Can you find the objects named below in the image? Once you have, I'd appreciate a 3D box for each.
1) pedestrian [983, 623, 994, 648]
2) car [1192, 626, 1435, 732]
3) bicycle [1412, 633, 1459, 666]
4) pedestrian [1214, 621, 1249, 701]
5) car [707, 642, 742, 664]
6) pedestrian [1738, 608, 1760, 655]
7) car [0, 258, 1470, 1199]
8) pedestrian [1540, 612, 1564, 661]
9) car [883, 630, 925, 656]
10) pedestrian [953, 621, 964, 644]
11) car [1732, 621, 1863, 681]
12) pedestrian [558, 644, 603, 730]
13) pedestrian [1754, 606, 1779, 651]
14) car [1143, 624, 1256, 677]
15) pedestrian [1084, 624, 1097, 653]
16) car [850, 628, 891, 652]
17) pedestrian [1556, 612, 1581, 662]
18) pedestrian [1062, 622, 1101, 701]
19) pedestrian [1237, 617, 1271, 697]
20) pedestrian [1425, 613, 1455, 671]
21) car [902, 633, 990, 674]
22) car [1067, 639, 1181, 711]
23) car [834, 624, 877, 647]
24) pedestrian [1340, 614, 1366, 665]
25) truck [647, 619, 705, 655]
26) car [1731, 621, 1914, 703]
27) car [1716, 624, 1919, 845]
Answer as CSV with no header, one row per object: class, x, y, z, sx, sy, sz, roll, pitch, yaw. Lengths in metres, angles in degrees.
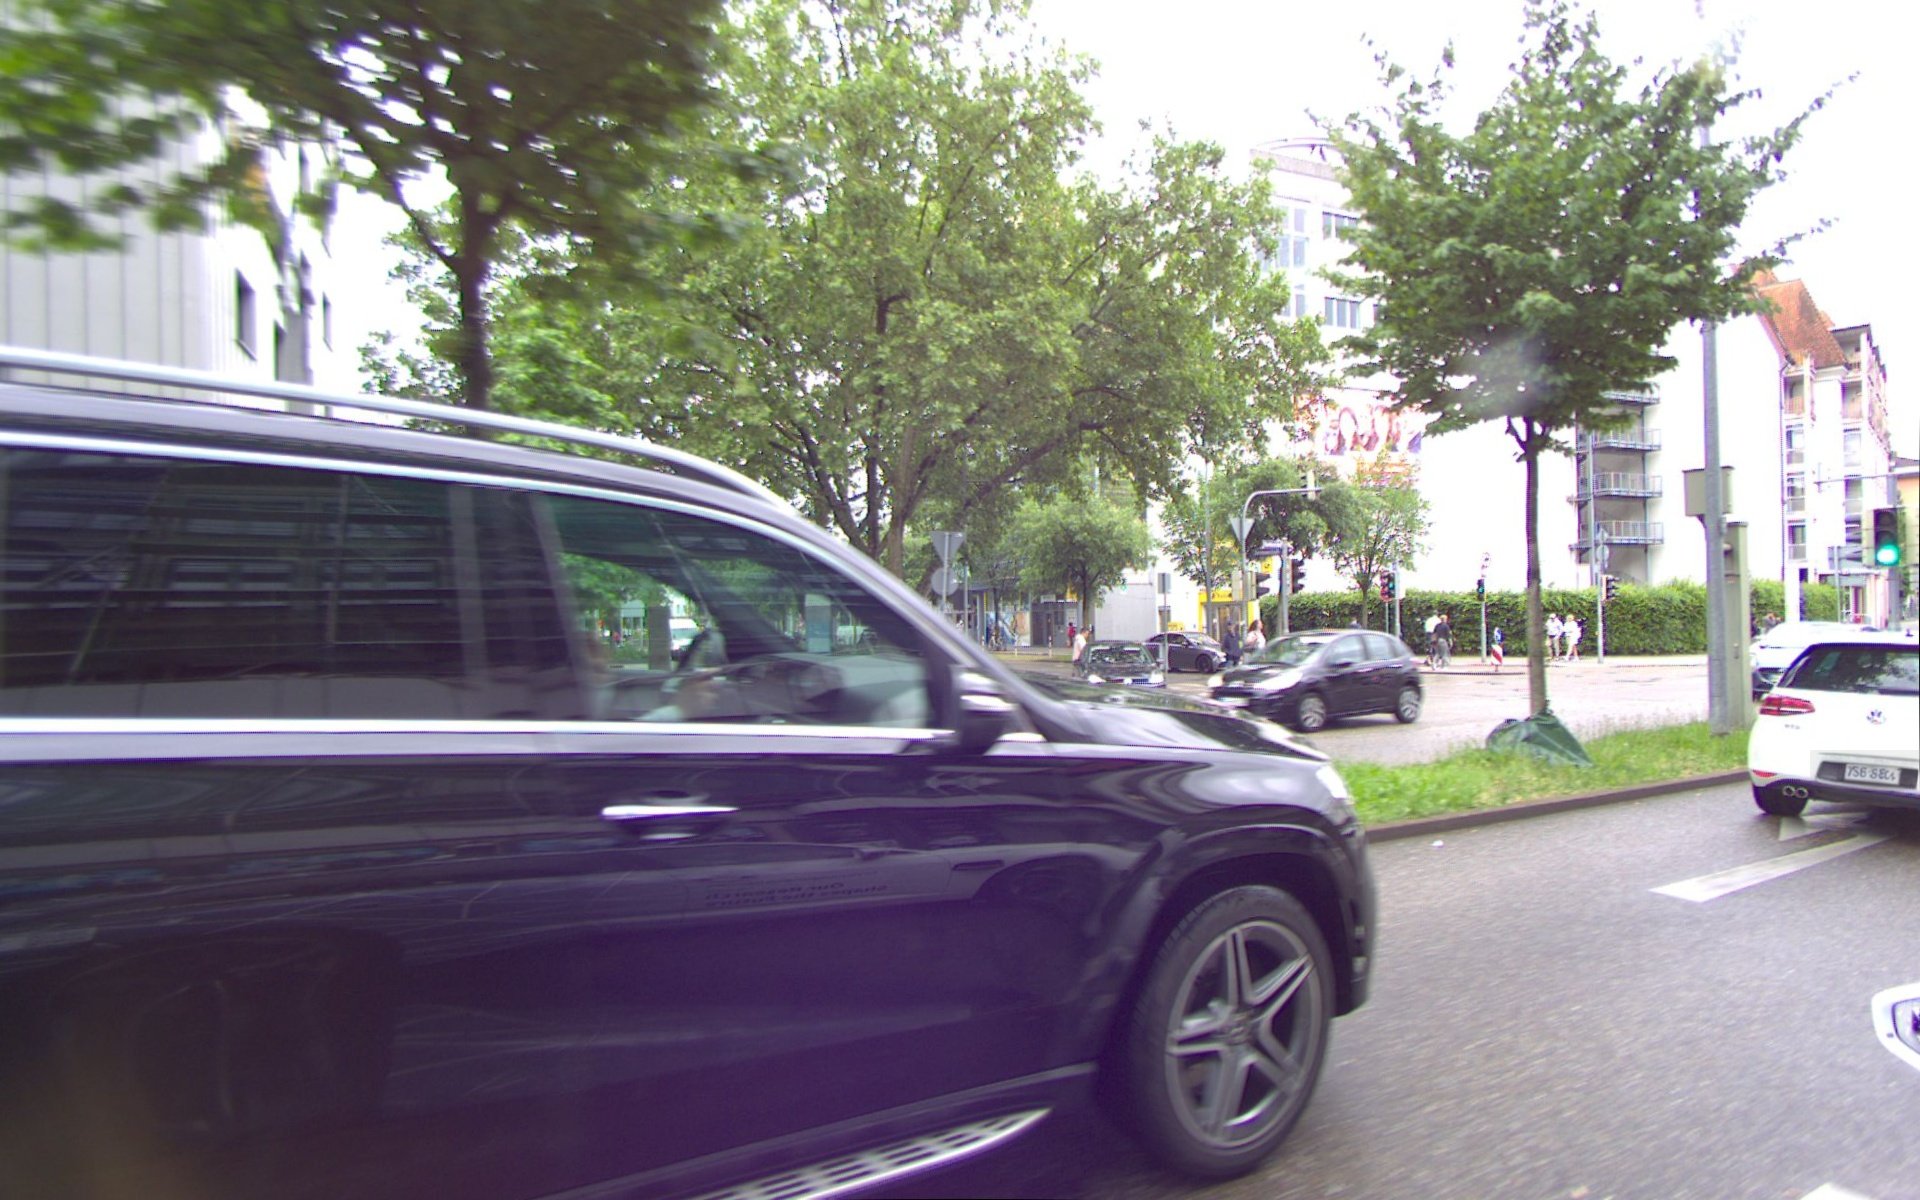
pedestrian,1.904,2.321,66.290,0.522,1.621,0.555,0,-1,-26
car,5.667,1.201,16.003,3.836,1.510,1.610,1,-4,-32
bicycle,17.209,1.773,36.339,2.039,1.125,0.645,0,-1,-38
pedestrian,6.274,1.398,23.214,0.669,1.787,0.408,-2,0,-34
car,-17.230,3.837,73.417,1.837,1.483,3.977,-1,-1,-24
pedestrian,30.913,1.237,39.349,0.624,1.787,0.523,3,-3,-35
car,-1.055,0.481,2.604,4.831,1.801,1.983,3,-1,-32
pedestrian,21.905,1.348,37.178,0.586,1.788,0.523,-1,2,-33
car,-4.041,3.132,73.283,1.906,1.684,3.876,2,0,14
pedestrian,-0.105,2.306,72.020,0.522,1.621,0.693,0,-1,-26
car,22.917,1.367,27.467,3.602,1.535,1.663,0,-3,-32
pedestrian,-7.522,1.706,19.901,0.692,1.627,0.675,-1,-2,-30
pedestrian,32.361,1.142,40.320,0.587,1.787,0.637,3,-3,-35
car,8.354,1.764,35.225,1.623,1.718,3.561,-1,-1,-40
pedestrian,7.344,2.170,56.630,0.522,1.621,0.555,0,-1,-26
car,-6.797,3.040,76.985,1.906,1.684,3.876,2,0,14
pedestrian,22.275,1.349,36.749,0.586,1.788,0.523,1,2,-33
pedestrian,3.058,1.552,25.426,0.844,1.931,0.827,1,-2,-1
pedestrian,6.990,1.354,23.848,0.670,1.861,0.443,3,-3,-36
pedestrian,14.952,1.300,31.311,0.587,1.787,0.642,3,-3,-36
car,-0.641,2.223,42.306,1.686,1.607,3.958,-1,-1,-37
car,3.522,1.606,22.378,1.895,1.414,4.429,-1,-3,1
car,-8.375,2.808,80.804,1.907,1.684,3.874,2,0,19
pedestrian,14.179,1.422,36.285,0.778,1.804,0.653,1,-2,14
truck,-18.674,2.399,65.865,1.977,2.183,6.650,-1,-1,-31
car,17.421,1.231,20.252,3.914,1.498,1.704,1,-4,-33
car,7.941,0.957,8.006,3.956,1.428,1.755,1,0,-32
